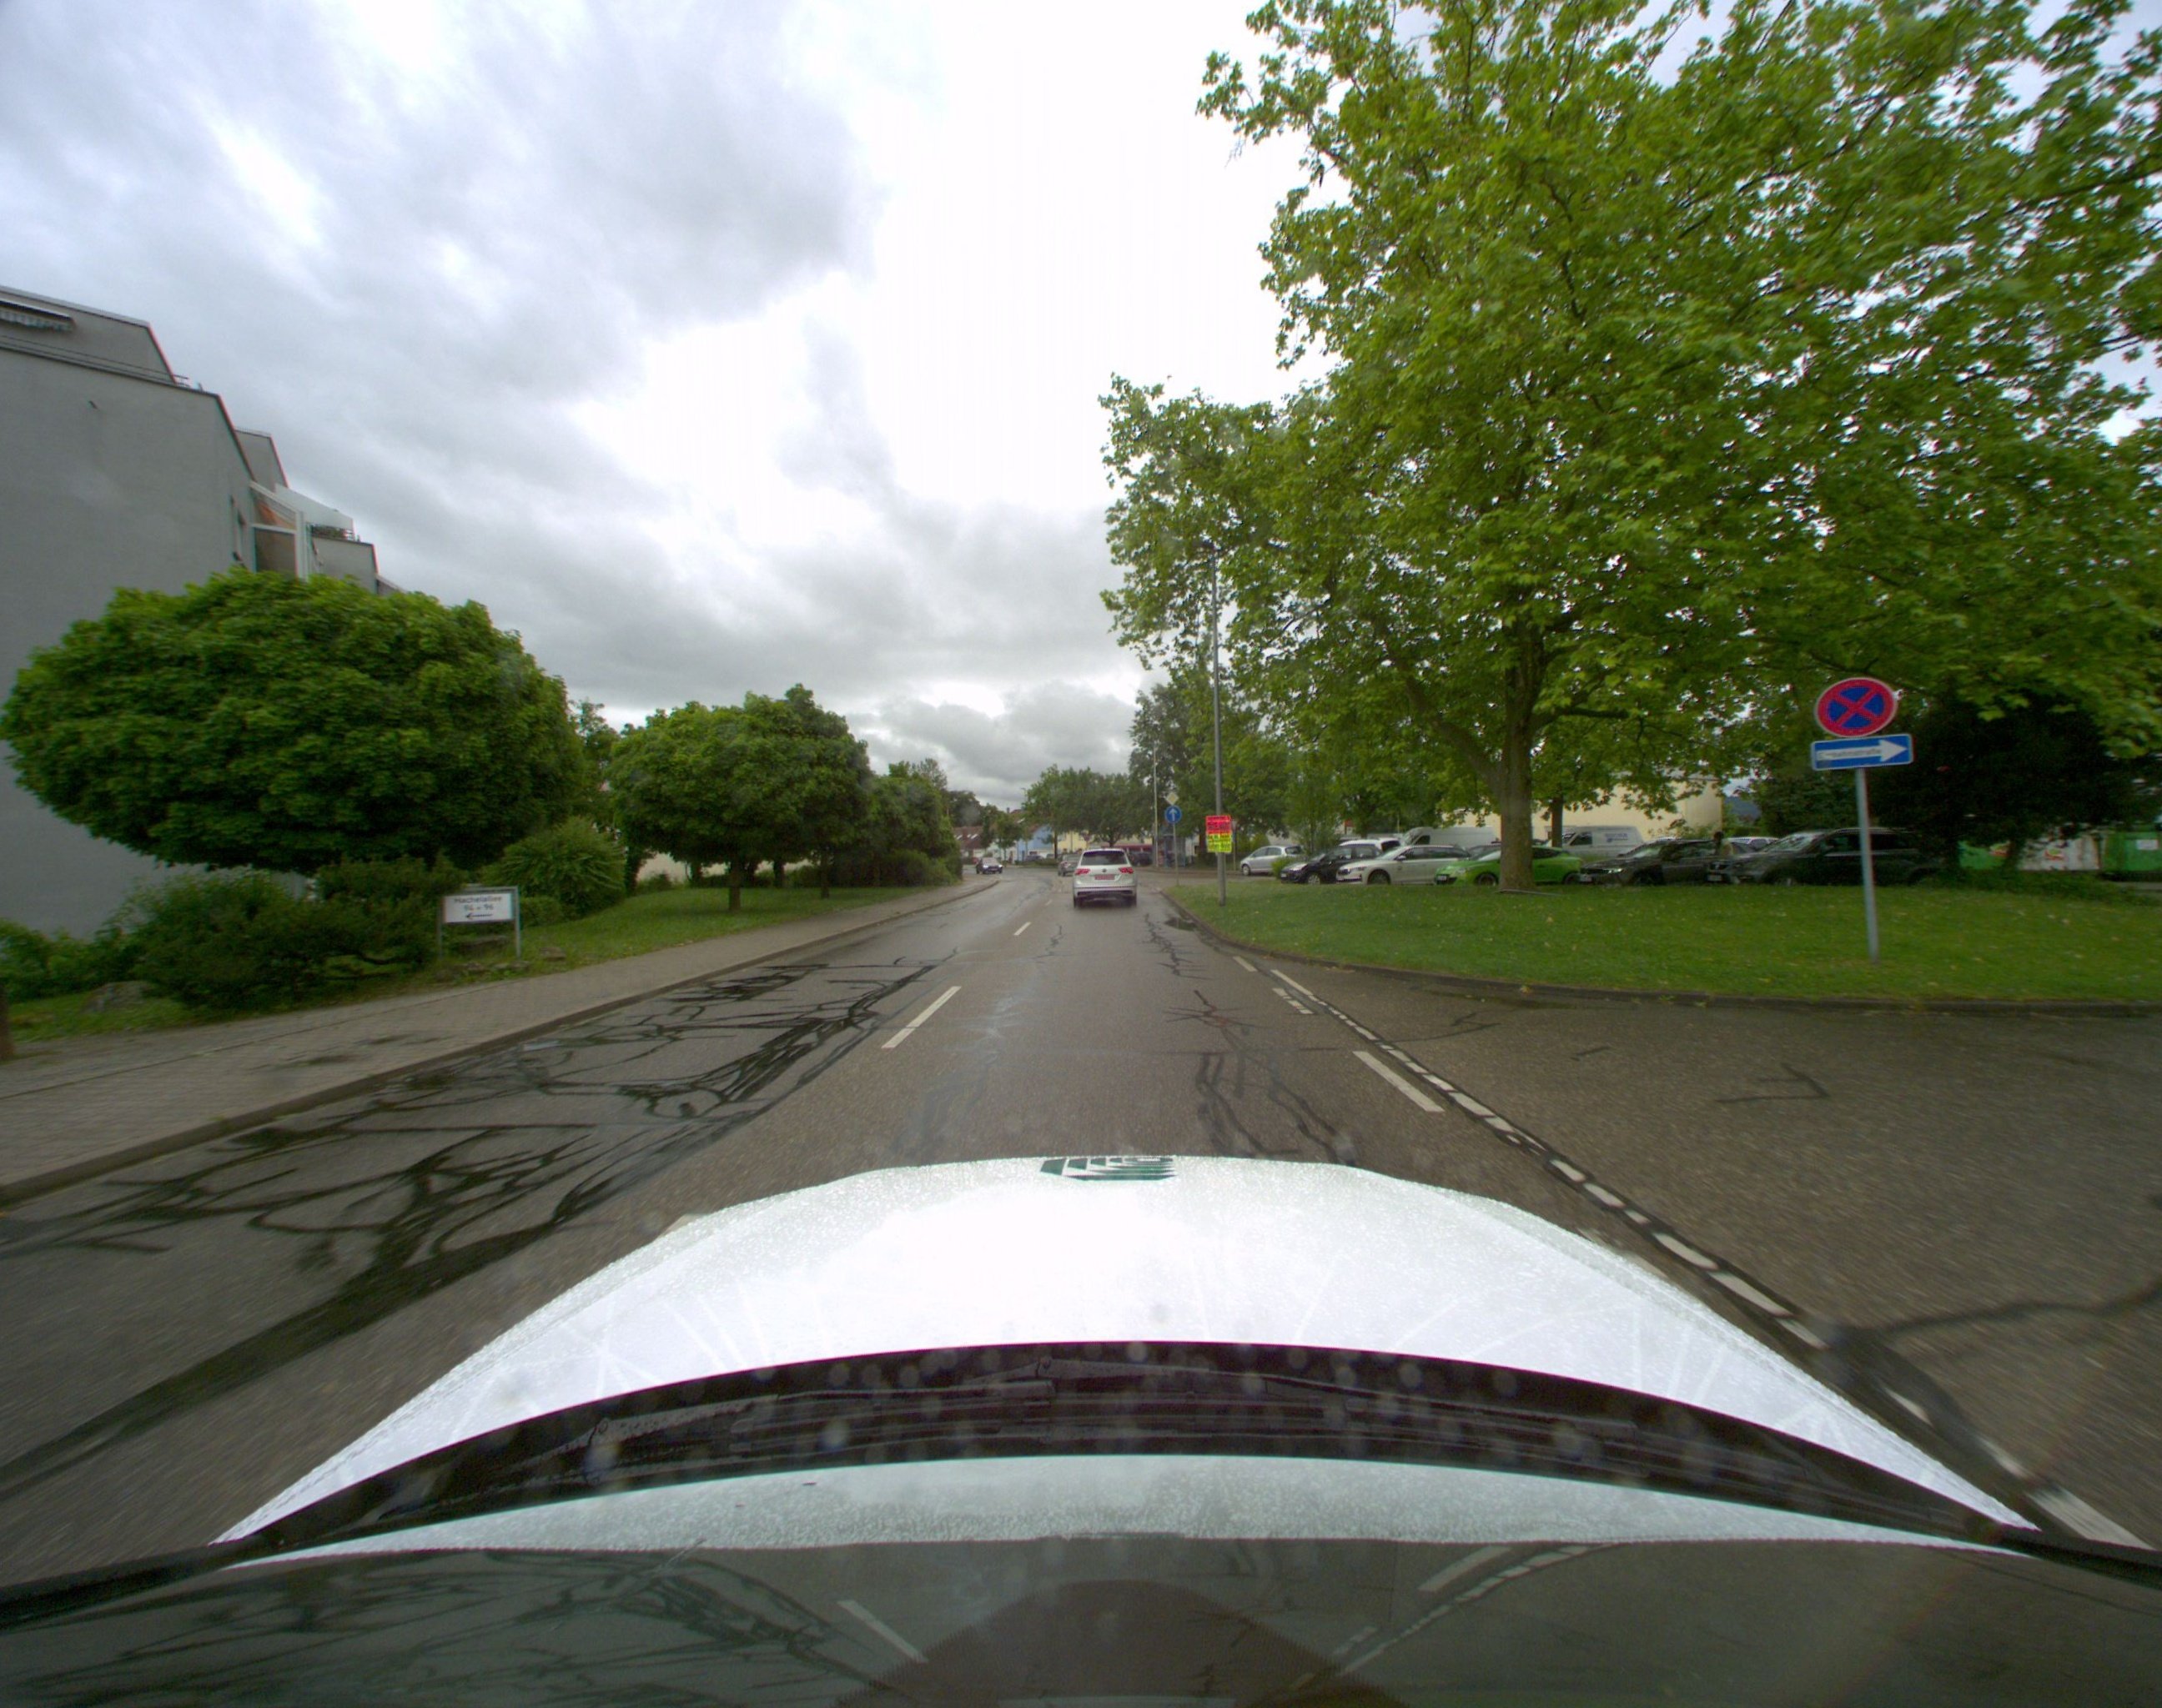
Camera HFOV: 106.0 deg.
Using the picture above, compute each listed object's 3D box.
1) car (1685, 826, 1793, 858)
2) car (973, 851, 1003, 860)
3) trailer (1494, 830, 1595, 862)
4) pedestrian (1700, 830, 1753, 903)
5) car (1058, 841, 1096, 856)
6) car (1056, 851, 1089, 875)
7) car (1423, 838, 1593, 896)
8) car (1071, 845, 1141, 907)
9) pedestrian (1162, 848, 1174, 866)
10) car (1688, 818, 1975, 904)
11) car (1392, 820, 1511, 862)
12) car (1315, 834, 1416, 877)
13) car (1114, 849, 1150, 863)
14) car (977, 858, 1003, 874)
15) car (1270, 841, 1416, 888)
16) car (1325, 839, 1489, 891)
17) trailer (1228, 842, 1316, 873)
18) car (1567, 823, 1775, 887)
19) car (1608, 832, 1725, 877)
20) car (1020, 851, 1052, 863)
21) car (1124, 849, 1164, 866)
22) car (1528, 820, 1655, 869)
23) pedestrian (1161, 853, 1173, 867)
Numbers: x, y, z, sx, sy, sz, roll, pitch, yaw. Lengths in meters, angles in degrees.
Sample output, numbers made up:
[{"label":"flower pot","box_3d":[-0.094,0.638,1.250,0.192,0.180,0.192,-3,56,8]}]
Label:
[{"label":"car","box_3d":[26.446,-0.477,32.784,3.285,1.230,1.581,-1,0,-8]},{"label":"car","box_3d":[-13.948,0.219,121.768,4.341,1.260,1.659,0,0,-43]},{"label":"trailer","box_3d":[22.774,-0.369,40.143,3.971,1.437,1.713,-2,0,2]},{"label":"pedestrian","box_3d":[15.117,0.286,19.082,0.734,1.652,0.588,-2,0,4]},{"label":"car","box_3d":[-0.483,-0.700,100.289,4.208,1.671,1.971,-2,0,-33]},{"label":"car","box_3d":[-0.606,0.629,57.001,1.768,1.551,3.988,-2,0,-8]},{"label":"car","box_3d":[12.252,0.346,23.495,4.002,1.443,1.762,-2,0,-5]},{"label":"car","box_3d":[0.747,0.589,24.372,1.858,1.650,4.002,-2,0,2]},{"label":"pedestrian","box_3d":[6.366,0.212,59.690,0.726,1.250,0.550,-1,0,-7]},{"label":"car","box_3d":[16.035,0.161,17.654,4.251,1.626,1.770,-2,0,11]},{"label":"car","box_3d":[20.427,-0.717,44.950,5.819,2.013,1.994,-2,0,-10]},{"label":"car","box_3d":[13.324,0.068,38.394,2.006,1.881,4.173,-2,0,-29]},{"label":"car","box_3d":[5.736,0.235,90.852,3.720,1.442,1.688,-2,0,-35]},{"label":"car","box_3d":[-8.359,1.078,74.625,1.743,1.414,4.122,-2,0,-14]},{"label":"car","box_3d":[9.215,0.348,28.815,4.564,1.443,1.762,-2,0,-5]},{"label":"car","box_3d":[10.446,0.329,26.274,4.564,1.443,1.762,-2,0,-5]},{"label":"trailer","box_3d":[10.151,0.202,43.535,2.007,1.543,4.380,-2,0,-33]},{"label":"car","box_3d":[14.612,0.014,20.299,4.002,1.371,1.762,-2,0,-5]},{"label":"car","box_3d":[25.439,0.009,35.470,3.885,1.774,1.821,-2,0,-6]},{"label":"car","box_3d":[-6.010,0.385,108.679,4.019,1.387,1.656,-2,0,-37]},{"label":"car","box_3d":[6.820,0.354,88.375,4.017,1.721,1.903,-2,0,-35]},{"label":"car","box_3d":[23.590,-0.447,37.708,4.743,2.013,1.996,-2,0,-6]},{"label":"pedestrian","box_3d":[6.371,0.433,60.382,0.748,1.011,0.550,-1,0,-7]}]
